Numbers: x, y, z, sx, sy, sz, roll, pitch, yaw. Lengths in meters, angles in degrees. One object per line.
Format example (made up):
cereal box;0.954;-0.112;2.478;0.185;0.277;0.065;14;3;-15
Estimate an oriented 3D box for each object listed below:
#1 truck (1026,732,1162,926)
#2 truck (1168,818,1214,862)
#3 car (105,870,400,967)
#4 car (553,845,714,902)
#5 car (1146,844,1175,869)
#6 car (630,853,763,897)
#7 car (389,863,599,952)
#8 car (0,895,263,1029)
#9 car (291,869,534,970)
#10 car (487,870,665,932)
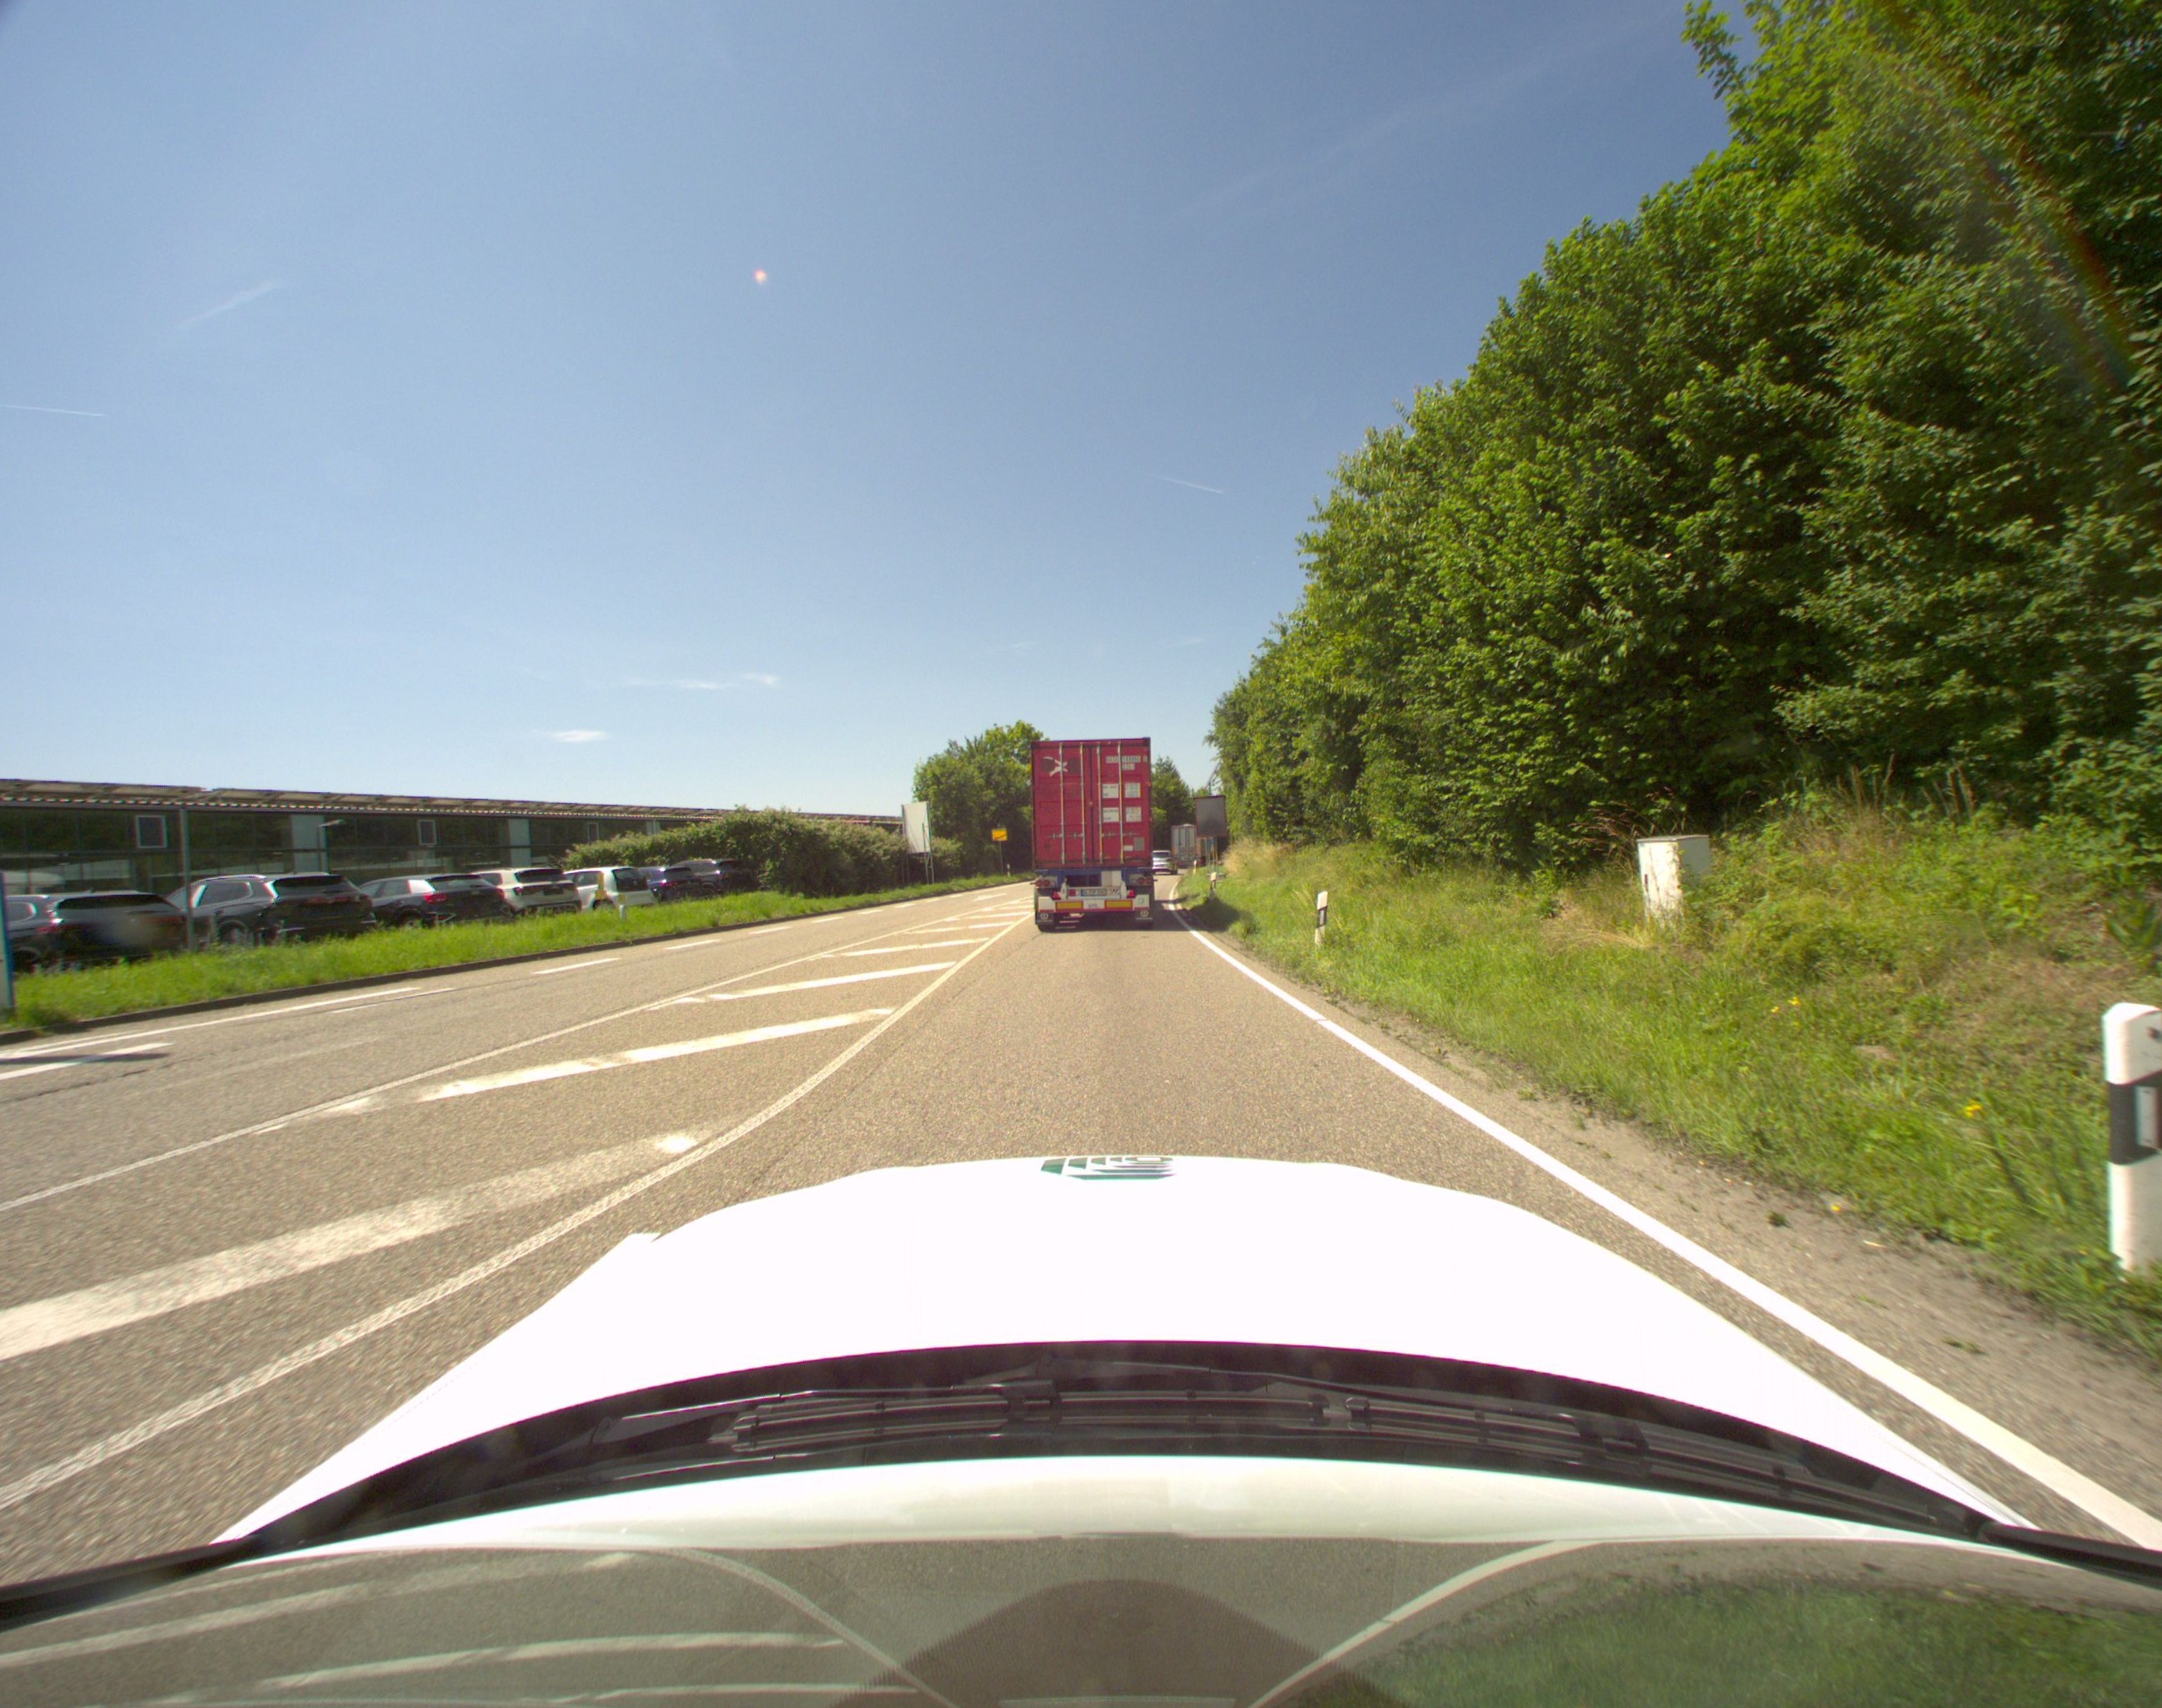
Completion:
truck;0.535;-0.519;22.894;2.637;3.806;13.367;-1;0;2
truck;10.755;-1.410;78.213;2.902;3.716;13.407;-5;1;13
car;-15.277;1.173;15.108;3.958;1.332;2.008;-5;0;14
car;-13.699;0.572;25.018;3.961;1.362;1.826;-5;0;11
car;5.496;0.139;56.143;1.823;1.433;4.008;-5;0;6
car;-12.852;0.690;27.312;3.669;1.373;1.811;-1;0;14
car;-14.518;1.299;20.222;3.958;1.749;2.008;-5;0;14
car;-15.541;1.663;12.776;3.958;1.750;2.008;-3;-1;14
car;-14.525;1.397;17.789;3.958;1.749;2.008;-5;0;14
car;-14.134;1.308;22.900;3.961;1.317;1.839;-5;0;11
